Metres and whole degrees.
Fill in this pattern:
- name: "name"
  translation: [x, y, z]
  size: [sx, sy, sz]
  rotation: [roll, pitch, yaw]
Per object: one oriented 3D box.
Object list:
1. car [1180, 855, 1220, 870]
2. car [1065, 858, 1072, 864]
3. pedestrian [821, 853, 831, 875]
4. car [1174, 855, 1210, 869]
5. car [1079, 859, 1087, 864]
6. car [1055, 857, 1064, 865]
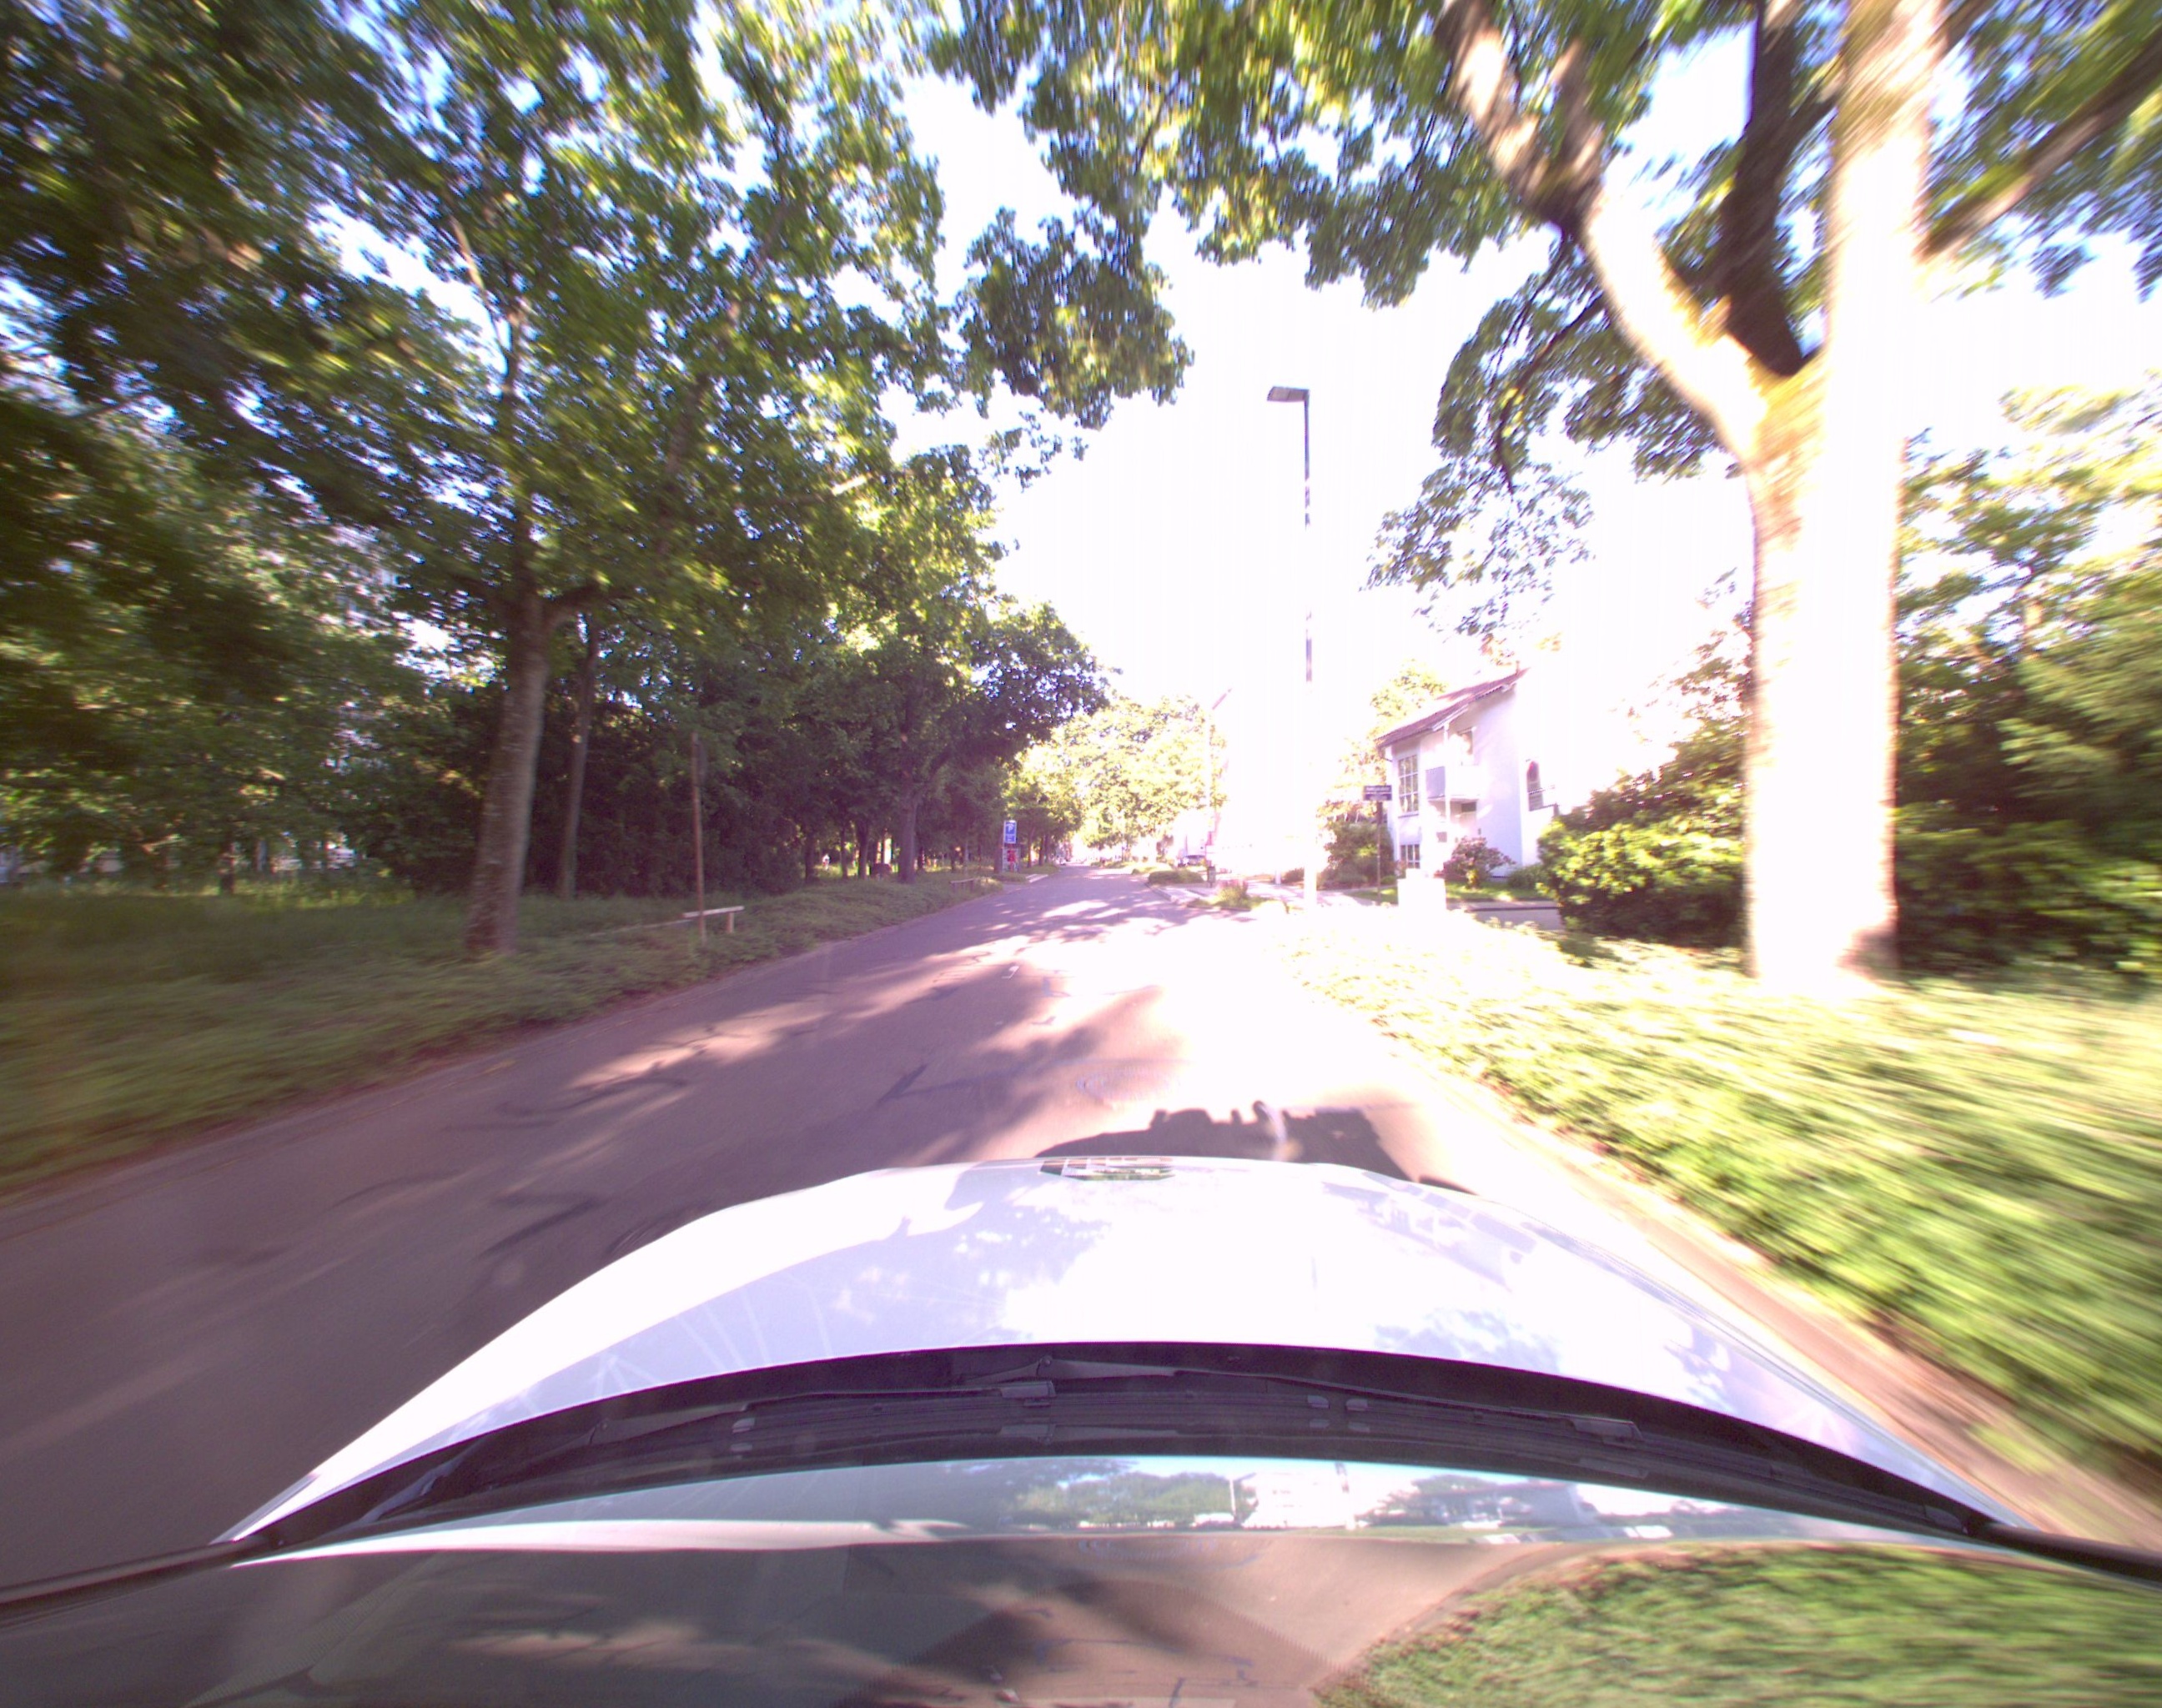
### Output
- name: "car"
  translation: [12.751, 0.921, 87.508]
  size: [4.030, 1.514, 1.725]
  rotation: [0, -2, -2]
- name: "car"
  translation: [-3.834, 2.091, 257.262]
  size: [1.809, 1.925, 3.991]
  rotation: [1, 0, -6]
- name: "pedestrian"
  translation: [-23.821, 0.912, 76.096]
  size: [0.754, 2.014, 0.589]
  rotation: [0, -1, -3]
- name: "car"
  translation: [12.985, 0.913, 95.280]
  size: [3.978, 1.581, 1.808]
  rotation: [-1, 1, -4]
- name: "car"
  translation: [0.544, 2.084, 228.837]
  size: [1.811, 1.501, 3.986]
  rotation: [-1, 0, -10]
- name: "car"
  translation: [-4.473, 1.424, 168.903]
  size: [1.839, 1.579, 4.332]
  rotation: [-2, 0, -2]
